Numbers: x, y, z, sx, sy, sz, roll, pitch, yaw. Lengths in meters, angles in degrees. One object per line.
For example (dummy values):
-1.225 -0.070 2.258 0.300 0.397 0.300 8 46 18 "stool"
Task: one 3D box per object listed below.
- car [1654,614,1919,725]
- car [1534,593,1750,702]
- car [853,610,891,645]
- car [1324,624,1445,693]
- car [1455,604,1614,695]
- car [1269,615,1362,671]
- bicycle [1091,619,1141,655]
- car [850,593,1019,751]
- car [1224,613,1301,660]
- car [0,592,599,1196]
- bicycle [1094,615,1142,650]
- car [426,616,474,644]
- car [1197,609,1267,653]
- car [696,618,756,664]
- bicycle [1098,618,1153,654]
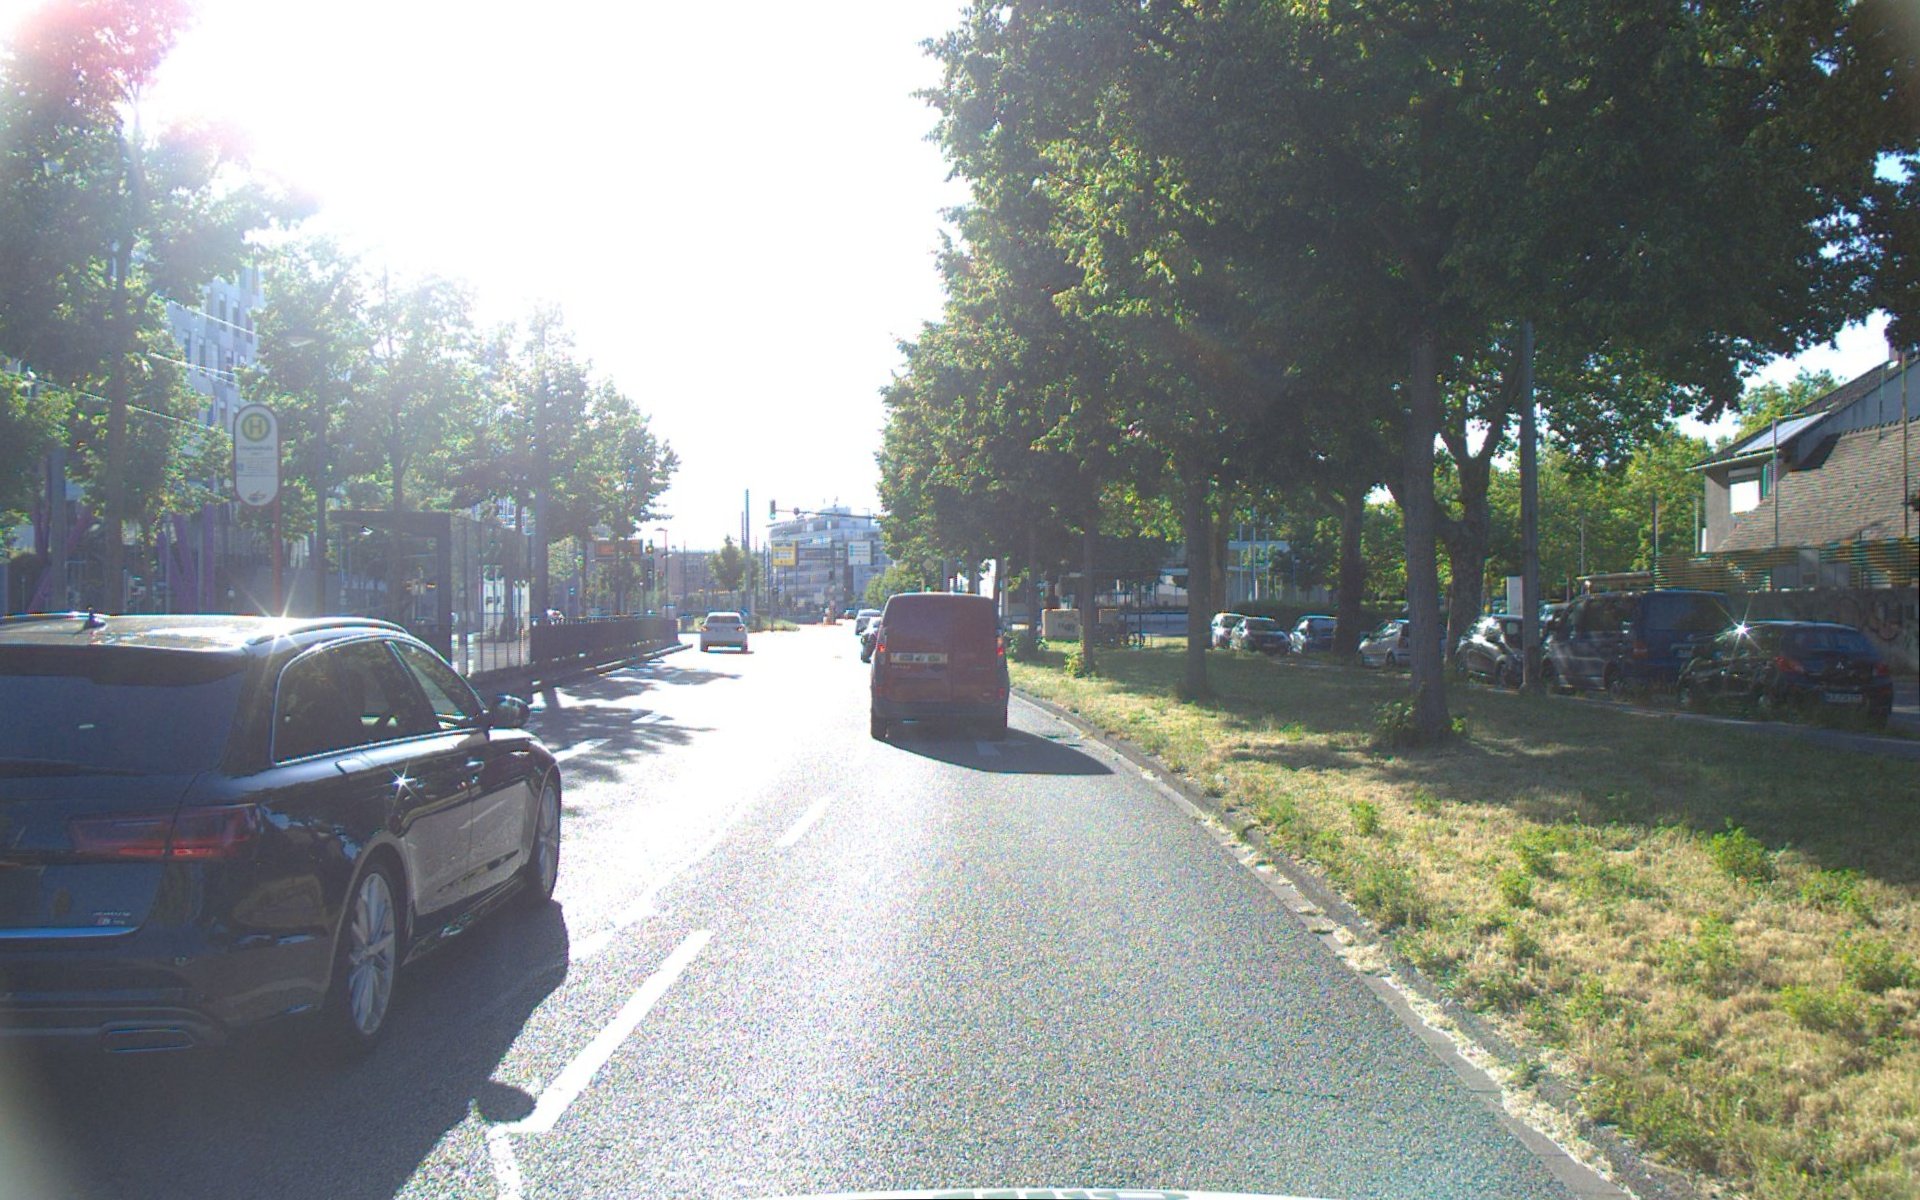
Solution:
11.555 0.929 23.056 1.834 1.391 3.996 1 -1 -5 "car"
11.655 0.793 28.558 1.834 1.713 3.996 1 -1 -5 "car"
-5.266 1.646 99.275 2.224 2.049 4.706 0 -1 -3 "car"
11.196 1.515 43.893 1.835 1.713 3.995 -1 -1 -6 "car"
11.744 0.997 34.059 1.833 1.713 3.999 1 -1 -1 "car"
11.551 1.385 53.964 1.835 1.713 3.995 1 -1 -6 "car"
5.688 1.345 60.175 1.743 1.290 0.479 1 -1 -4 "bicycle"
-0.427 0.908 21.973 1.774 1.870 3.993 1 -1 -7 "car"
11.476 1.390 63.022 1.835 1.713 3.995 1 -1 -6 "car"
-2.874 0.746 6.650 1.914 1.506 5.082 1 -1 -3 "car"
5.845 1.217 61.230 1.743 1.290 0.479 0 -1 -4 "bicycle"
-34.196 2.013 111.005 1.953 1.796 3.999 1 -1 0 "car"
11.063 1.251 67.498 1.835 1.713 3.994 1 -1 -6 "car"
-8.726 1.520 61.951 1.954 1.646 3.996 1 -1 -4 "car"
5.921 1.286 59.174 1.880 1.290 0.479 0 -1 -4 "bicycle"
